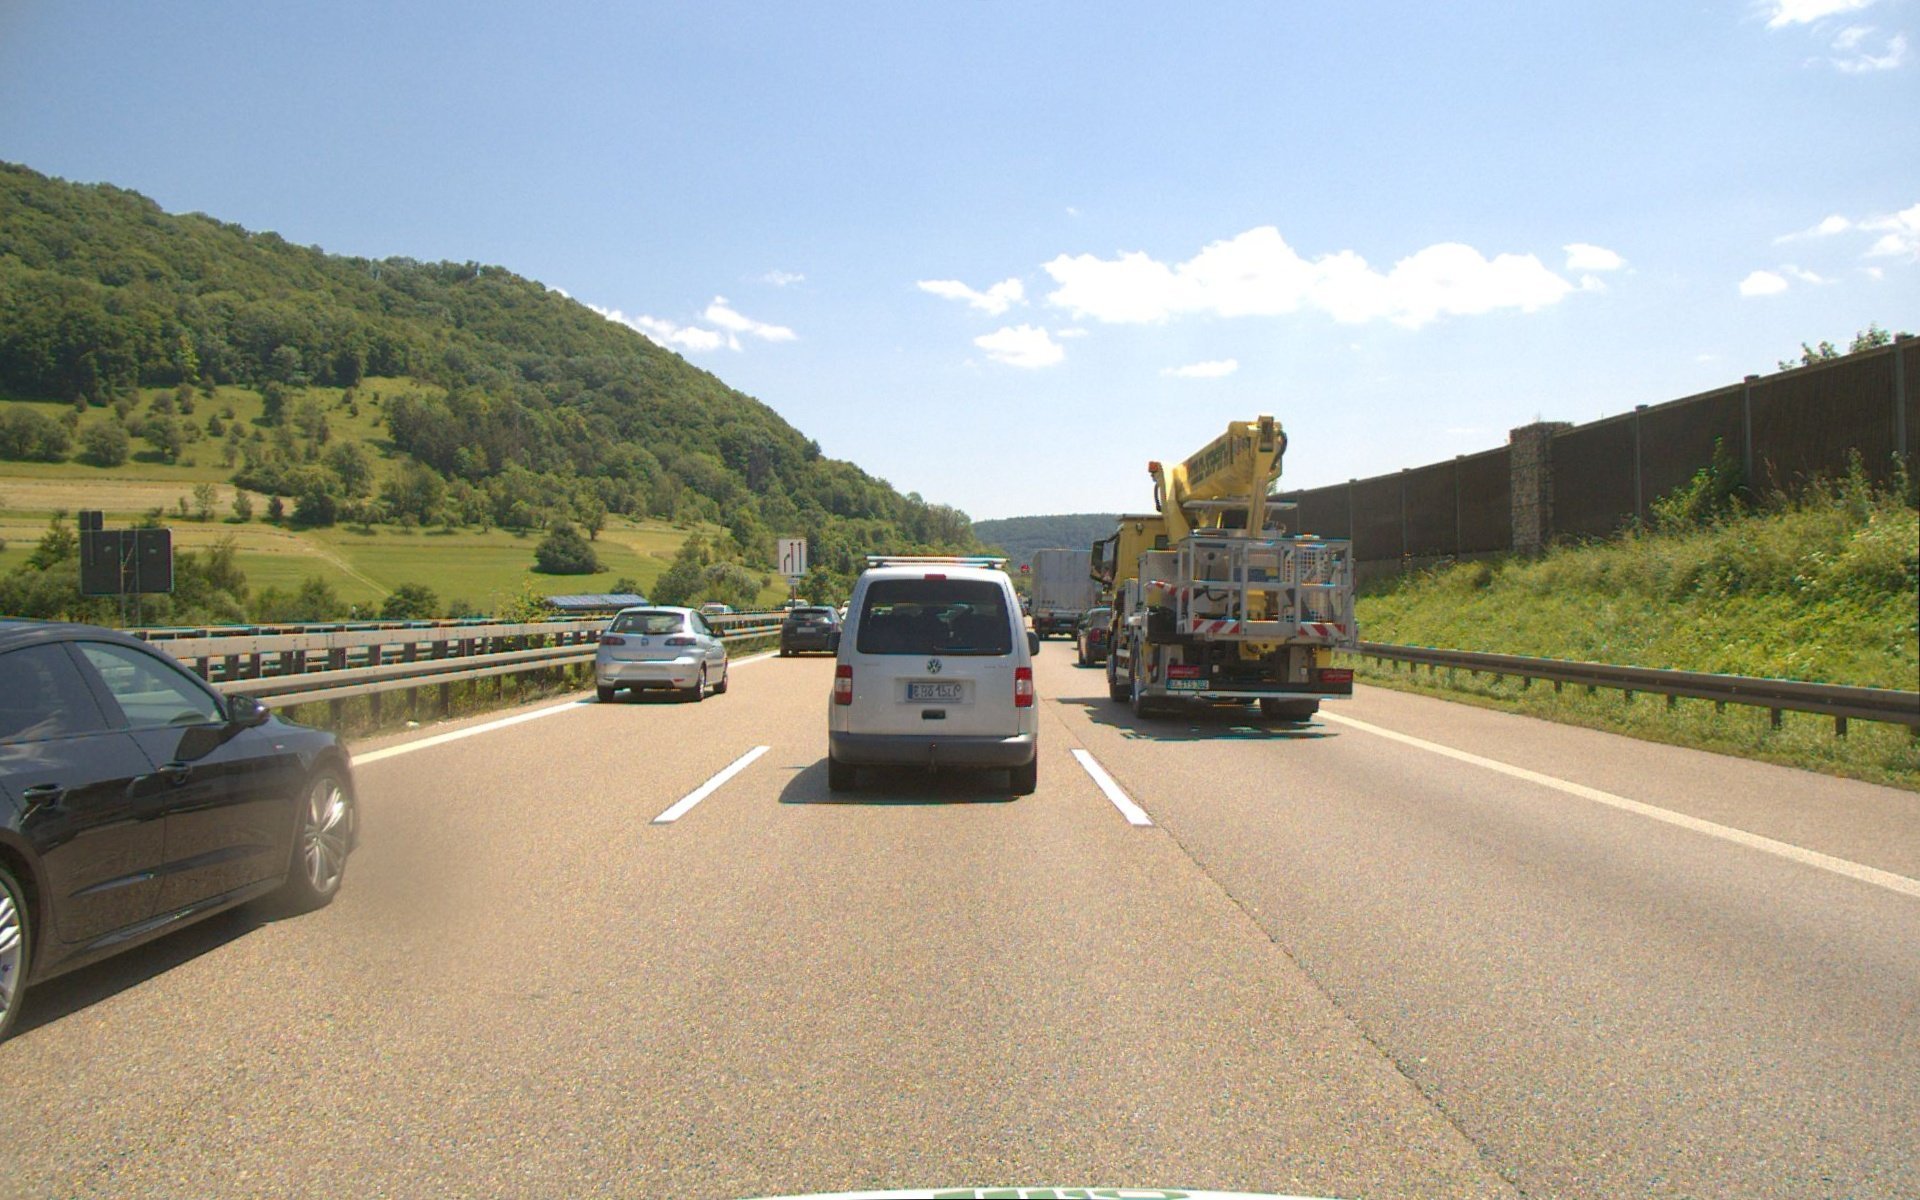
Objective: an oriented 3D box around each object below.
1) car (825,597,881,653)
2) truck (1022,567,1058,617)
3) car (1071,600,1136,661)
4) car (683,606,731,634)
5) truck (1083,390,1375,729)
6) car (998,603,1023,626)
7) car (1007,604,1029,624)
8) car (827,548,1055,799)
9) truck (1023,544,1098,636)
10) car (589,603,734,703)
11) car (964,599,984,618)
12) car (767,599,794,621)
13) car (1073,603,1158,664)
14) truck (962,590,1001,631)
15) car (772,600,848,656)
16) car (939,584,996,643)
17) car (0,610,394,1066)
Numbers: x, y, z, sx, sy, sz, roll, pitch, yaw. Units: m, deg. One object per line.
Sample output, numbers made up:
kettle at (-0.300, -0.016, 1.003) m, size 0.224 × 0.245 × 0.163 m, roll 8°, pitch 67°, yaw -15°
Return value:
car at (-4.095, 0.946, 63.744) m, size 1.953 × 2.049 × 3.999 m, roll -1°, pitch 0°, yaw -1°
truck at (5.490, -0.503, 114.607) m, size 1.953 × 3.308 × 6.797 m, roll 1°, pitch -1°, yaw -1°
car at (4.983, 1.032, 57.918) m, size 1.952 × 2.049 × 4.000 m, roll 0°, pitch 0°, yaw 0°
car at (-13.883, 1.085, 90.818) m, size 1.953 × 1.481 × 4.527 m, roll 0°, pitch 0°, yaw 0°
truck at (3.512, -0.468, 23.915) m, size 2.649 × 4.011 × 8.719 m, roll 0°, pitch 0°, yaw -1°
car at (4.192, 1.223, 138.773) m, size 1.953 × 1.837 × 4.000 m, roll 1°, pitch -1°, yaw 0°
car at (5.564, 1.317, 158.705) m, size 1.953 × 1.837 × 4.000 m, roll 1°, pitch -1°, yaw 0°
car at (-0.181, 0.560, 14.512) m, size 1.720 × 1.900 × 3.999 m, roll 0°, pitch 0°, yaw -1°
truck at (4.477, -0.365, 75.019) m, size 2.880 × 3.890 × 8.236 m, roll 1°, pitch -1°, yaw 0°
car at (-4.671, 0.789, 26.381) m, size 1.661 × 1.470 × 3.861 m, roll 0°, pitch 0°, yaw -1°
car at (1.350, 0.847, 162.921) m, size 1.953 × 1.837 × 4.000 m, roll 1°, pitch -1°, yaw 0°
car at (-16.745, 0.943, 154.636) m, size 2.018 × 1.975 × 4.660 m, roll 0°, pitch 0°, yaw 0°
car at (3.923, 0.829, 42.177) m, size 1.750 × 1.484 × 3.770 m, roll 0°, pitch 0°, yaw -1°
truck at (1.369, 0.643, 107.006) m, size 2.341 × 2.585 × 5.938 m, roll 0°, pitch 0°, yaw -1°
car at (-4.305, 0.786, 47.947) m, size 1.886 × 1.525 × 3.999 m, roll 1°, pitch 0°, yaw -1°
car at (0.229, 0.453, 58.474) m, size 1.953 × 2.010 × 3.999 m, roll 0°, pitch 0°, yaw -1°
car at (-3.889, 0.752, 6.347) m, size 1.764 × 1.415 × 4.968 m, roll 0°, pitch 0°, yaw -1°
